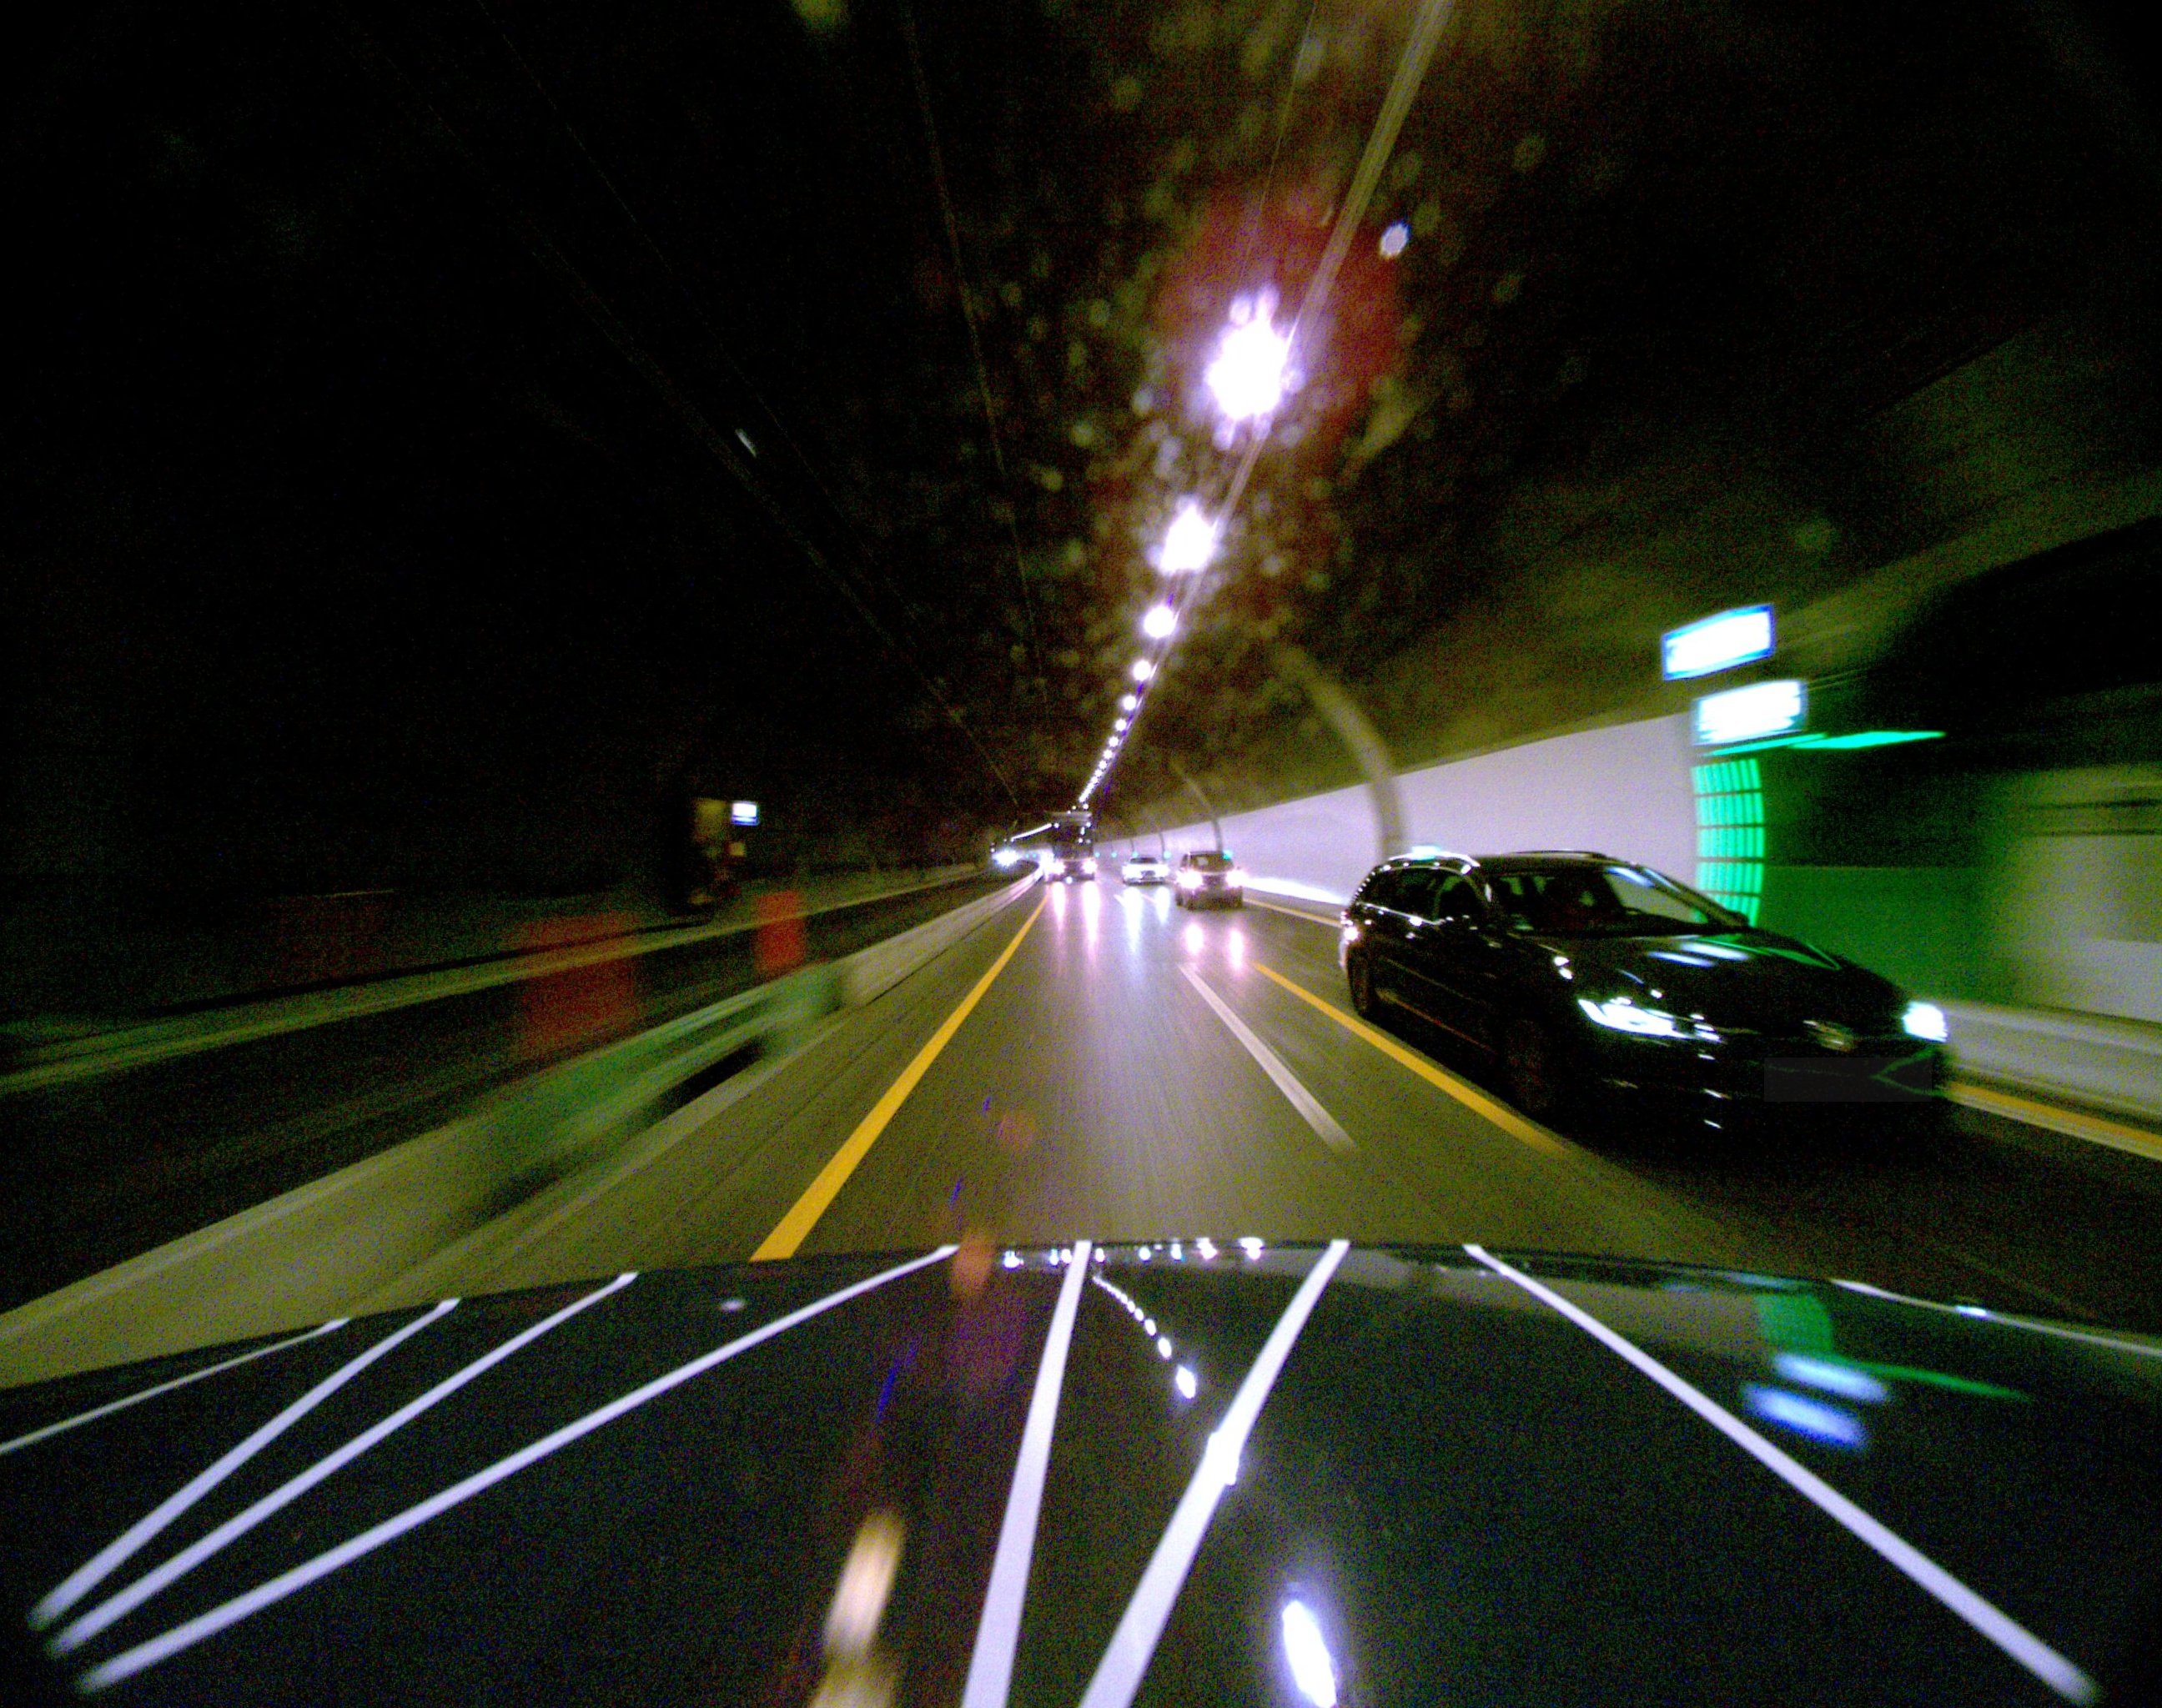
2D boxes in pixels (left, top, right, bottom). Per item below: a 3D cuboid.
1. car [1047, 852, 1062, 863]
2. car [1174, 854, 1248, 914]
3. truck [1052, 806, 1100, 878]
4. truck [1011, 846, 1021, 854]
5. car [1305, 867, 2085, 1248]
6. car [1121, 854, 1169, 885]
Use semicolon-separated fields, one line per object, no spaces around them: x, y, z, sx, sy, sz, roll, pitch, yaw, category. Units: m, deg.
-3.984;0.465;113.715;1.999;1.524;3.998;-1;0;-3;car
3.514;0.771;20.931;1.531;1.508;2.651;-1;0;0;car
-0.388;-0.706;48.351;2.742;4.127;8.098;-1;0;-2;truck
-20.413;-1.247;239.095;2.611;2.723;6.393;-1;0;-8;truck
3.246;0.882;5.566;1.782;1.430;4.882;-2;0;0;car
3.109;0.726;37.548;1.909;1.412;4.060;-1;0;-1;car
